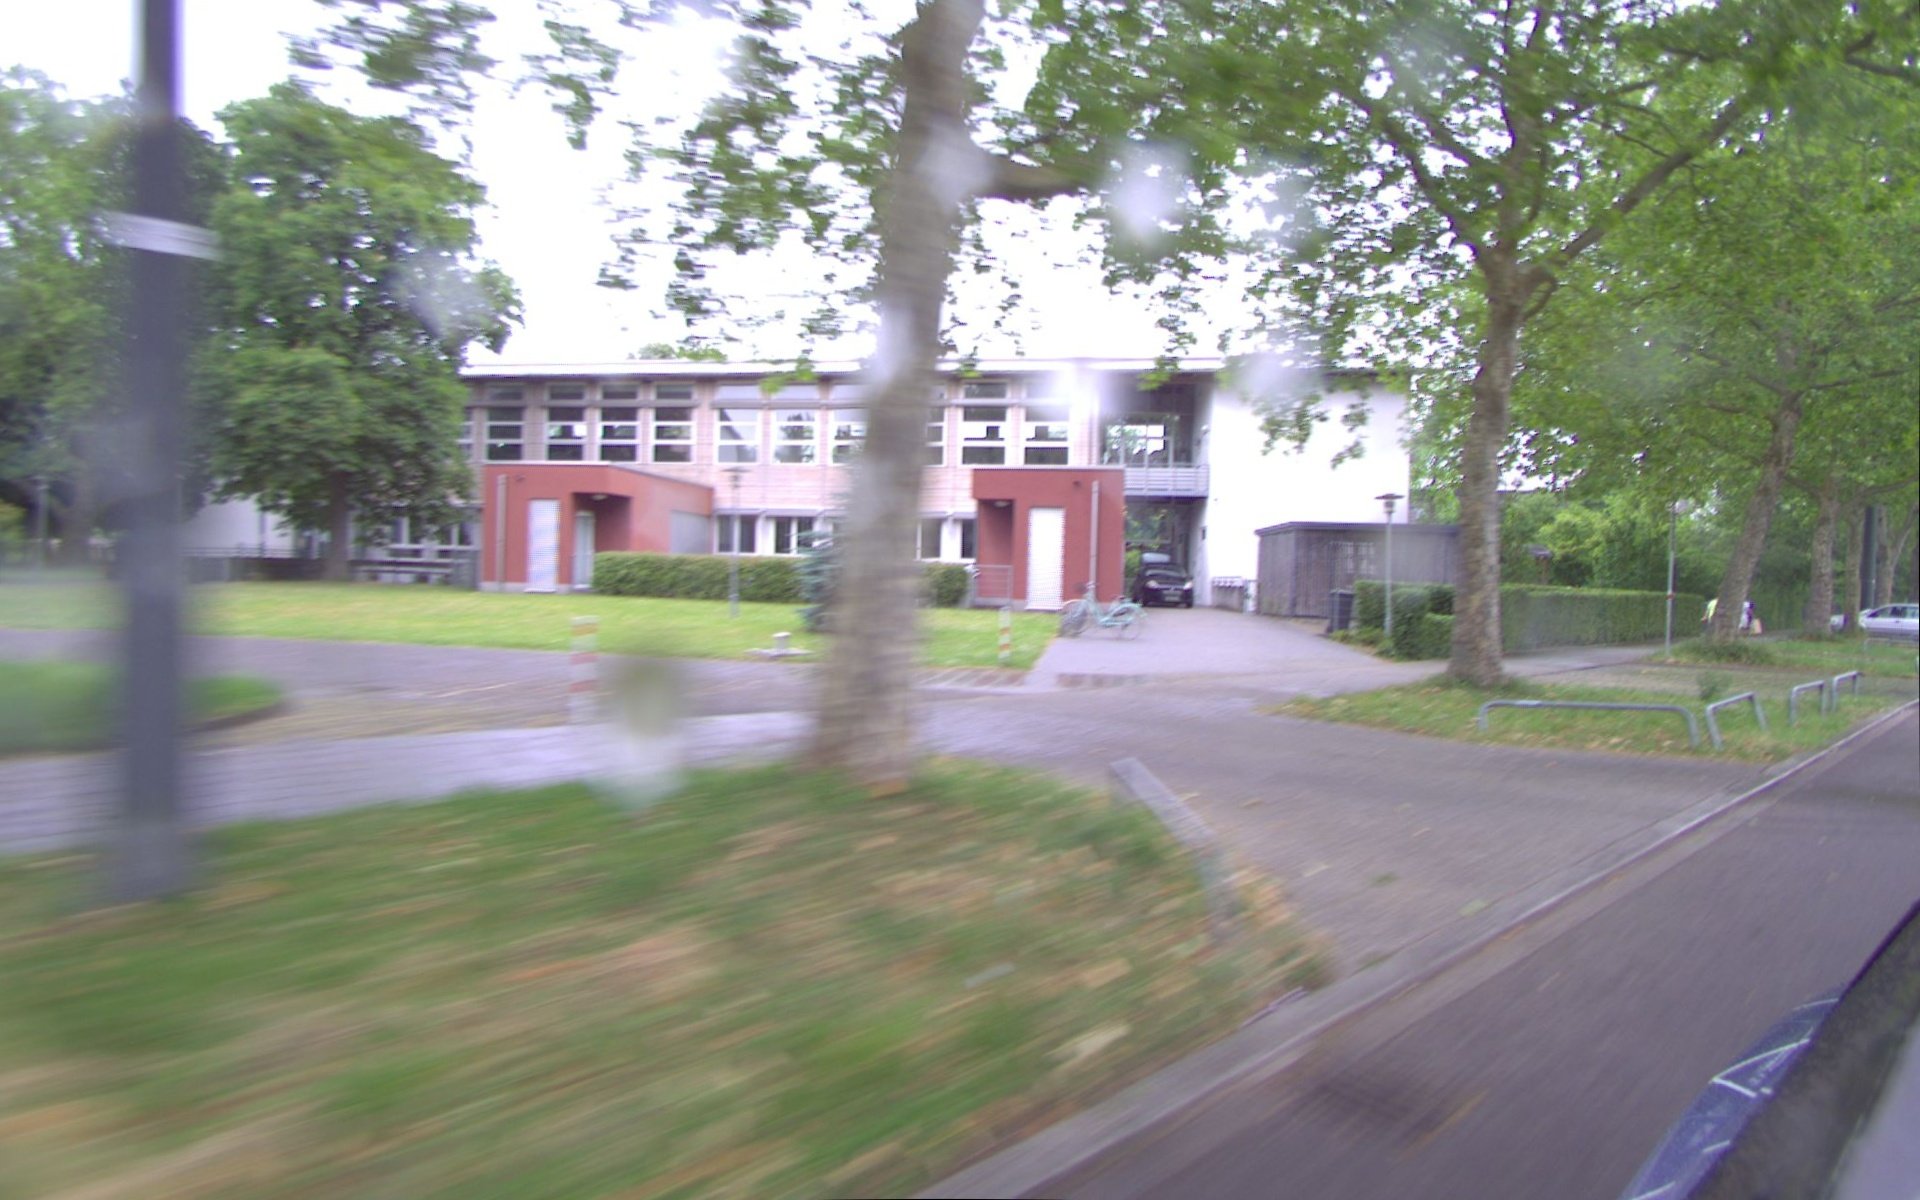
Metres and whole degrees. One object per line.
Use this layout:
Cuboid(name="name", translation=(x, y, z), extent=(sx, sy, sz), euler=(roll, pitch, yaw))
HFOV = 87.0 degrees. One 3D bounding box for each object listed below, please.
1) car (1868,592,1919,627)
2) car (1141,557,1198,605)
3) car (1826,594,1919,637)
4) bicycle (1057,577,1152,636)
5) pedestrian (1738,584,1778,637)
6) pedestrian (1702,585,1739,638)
Cuboid(name="car", translation=(44.385, 0.499, 46.235), extent=(3.983, 1.505, 1.622), euler=(3, 2, 30))
Cuboid(name="car", translation=(6.847, -0.648, 33.283), extent=(1.722, 1.469, 3.572), euler=(1, 1, 11))
Cuboid(name="car", translation=(36.043, 0.611, 38.800), extent=(3.983, 1.505, 1.622), euler=(3, 2, 30))
Cuboid(name="bicycle", translation=(3.033, 0.129, 21.359), extent=(1.902, 1.135, 0.521), euler=(3, 3, 3))
Cuboid(name="pedestrian", translation=(24.529, 0.312, 31.118), extent=(0.739, 1.557, 0.582), euler=(2, 1, 20))
Cuboid(name="pedestrian", translation=(23.376, 0.344, 31.105), extent=(0.575, 1.557, 0.747), euler=(1, 2, -42))
